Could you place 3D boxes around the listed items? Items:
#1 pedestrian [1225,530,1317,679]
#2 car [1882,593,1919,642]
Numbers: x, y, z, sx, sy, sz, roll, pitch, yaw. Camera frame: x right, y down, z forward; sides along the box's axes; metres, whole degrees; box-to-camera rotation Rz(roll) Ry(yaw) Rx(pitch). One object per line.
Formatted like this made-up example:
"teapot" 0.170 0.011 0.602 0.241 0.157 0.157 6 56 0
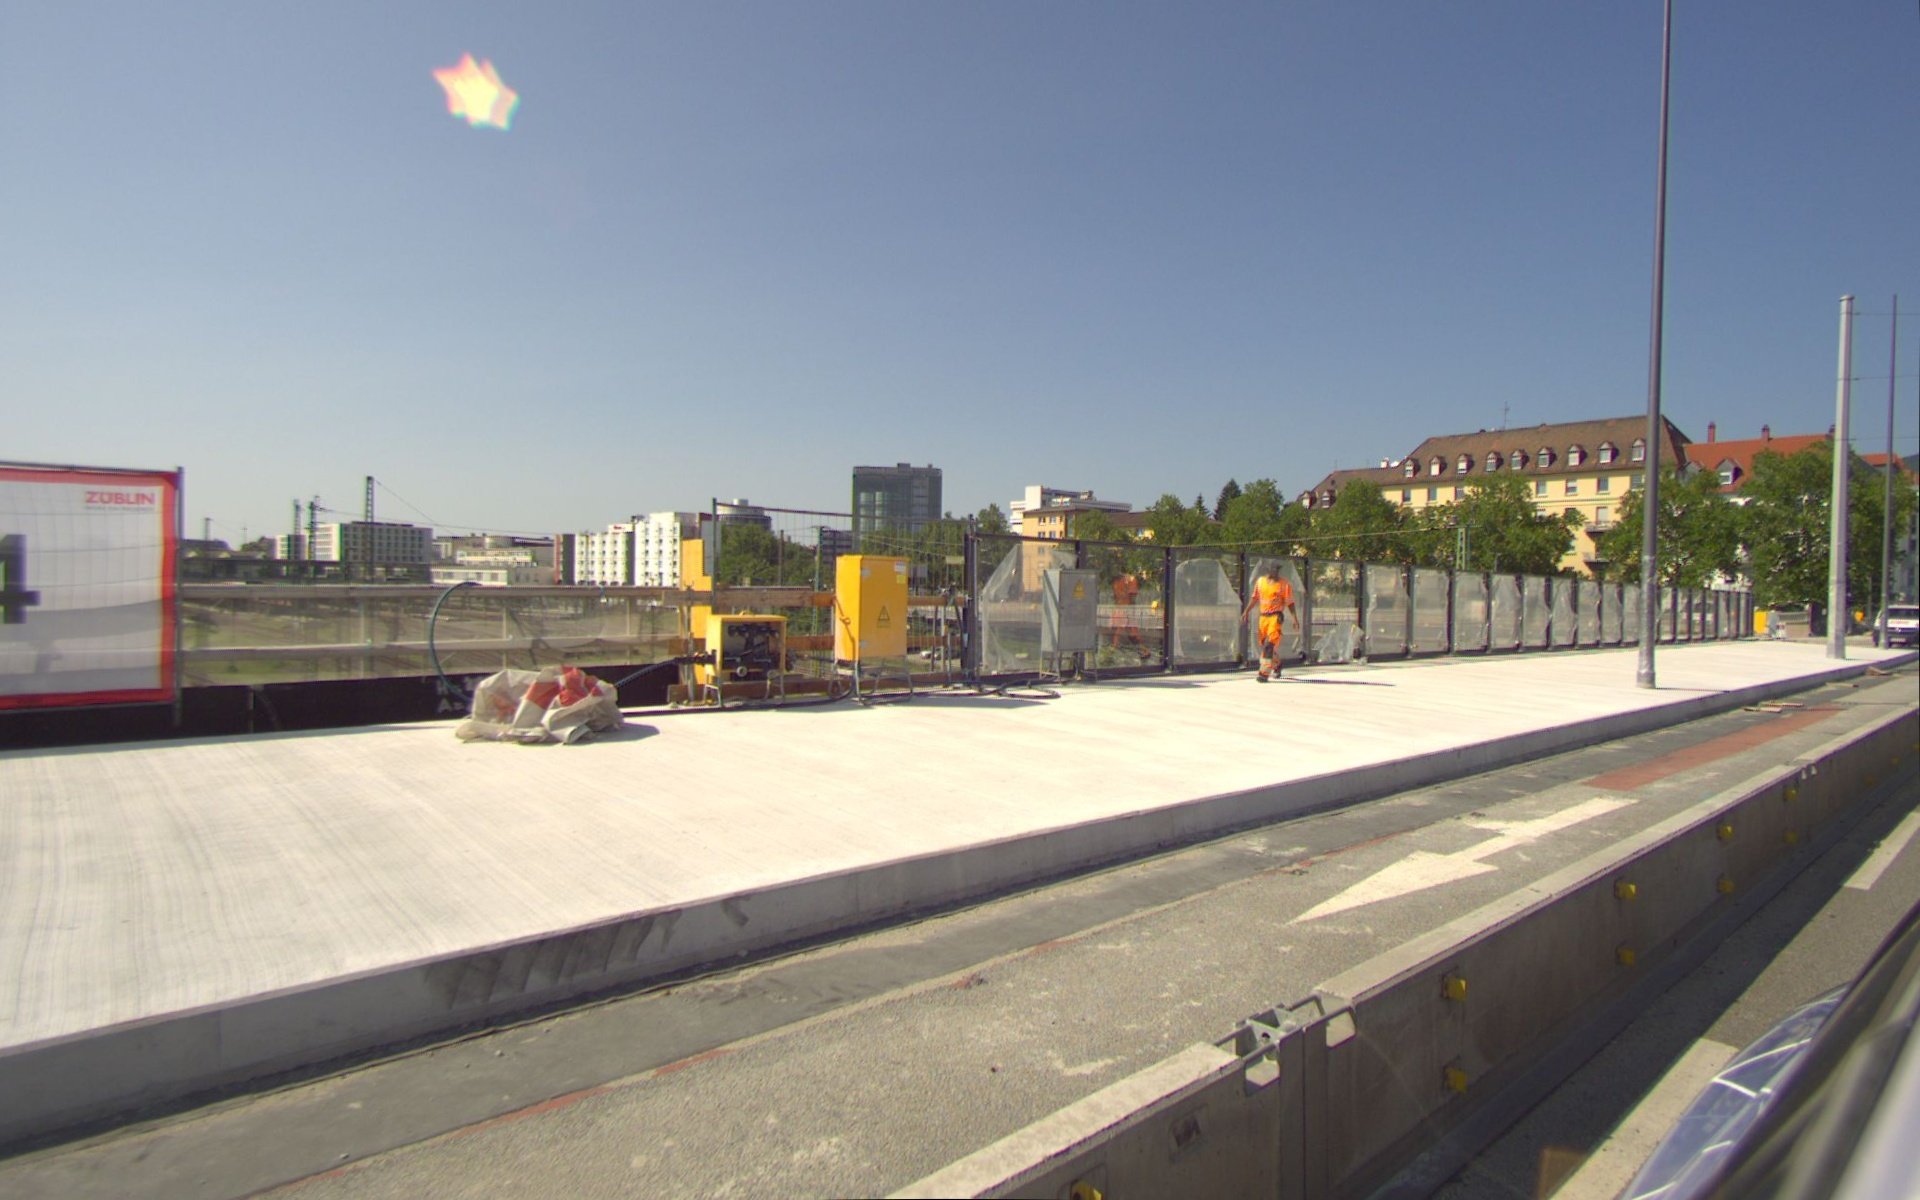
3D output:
"pedestrian" 4.351 0.041 14.154 0.998 1.989 0.733 0 2 -41
"car" 44.269 0.823 46.488 6.353 2.117 1.937 2 0 -40
